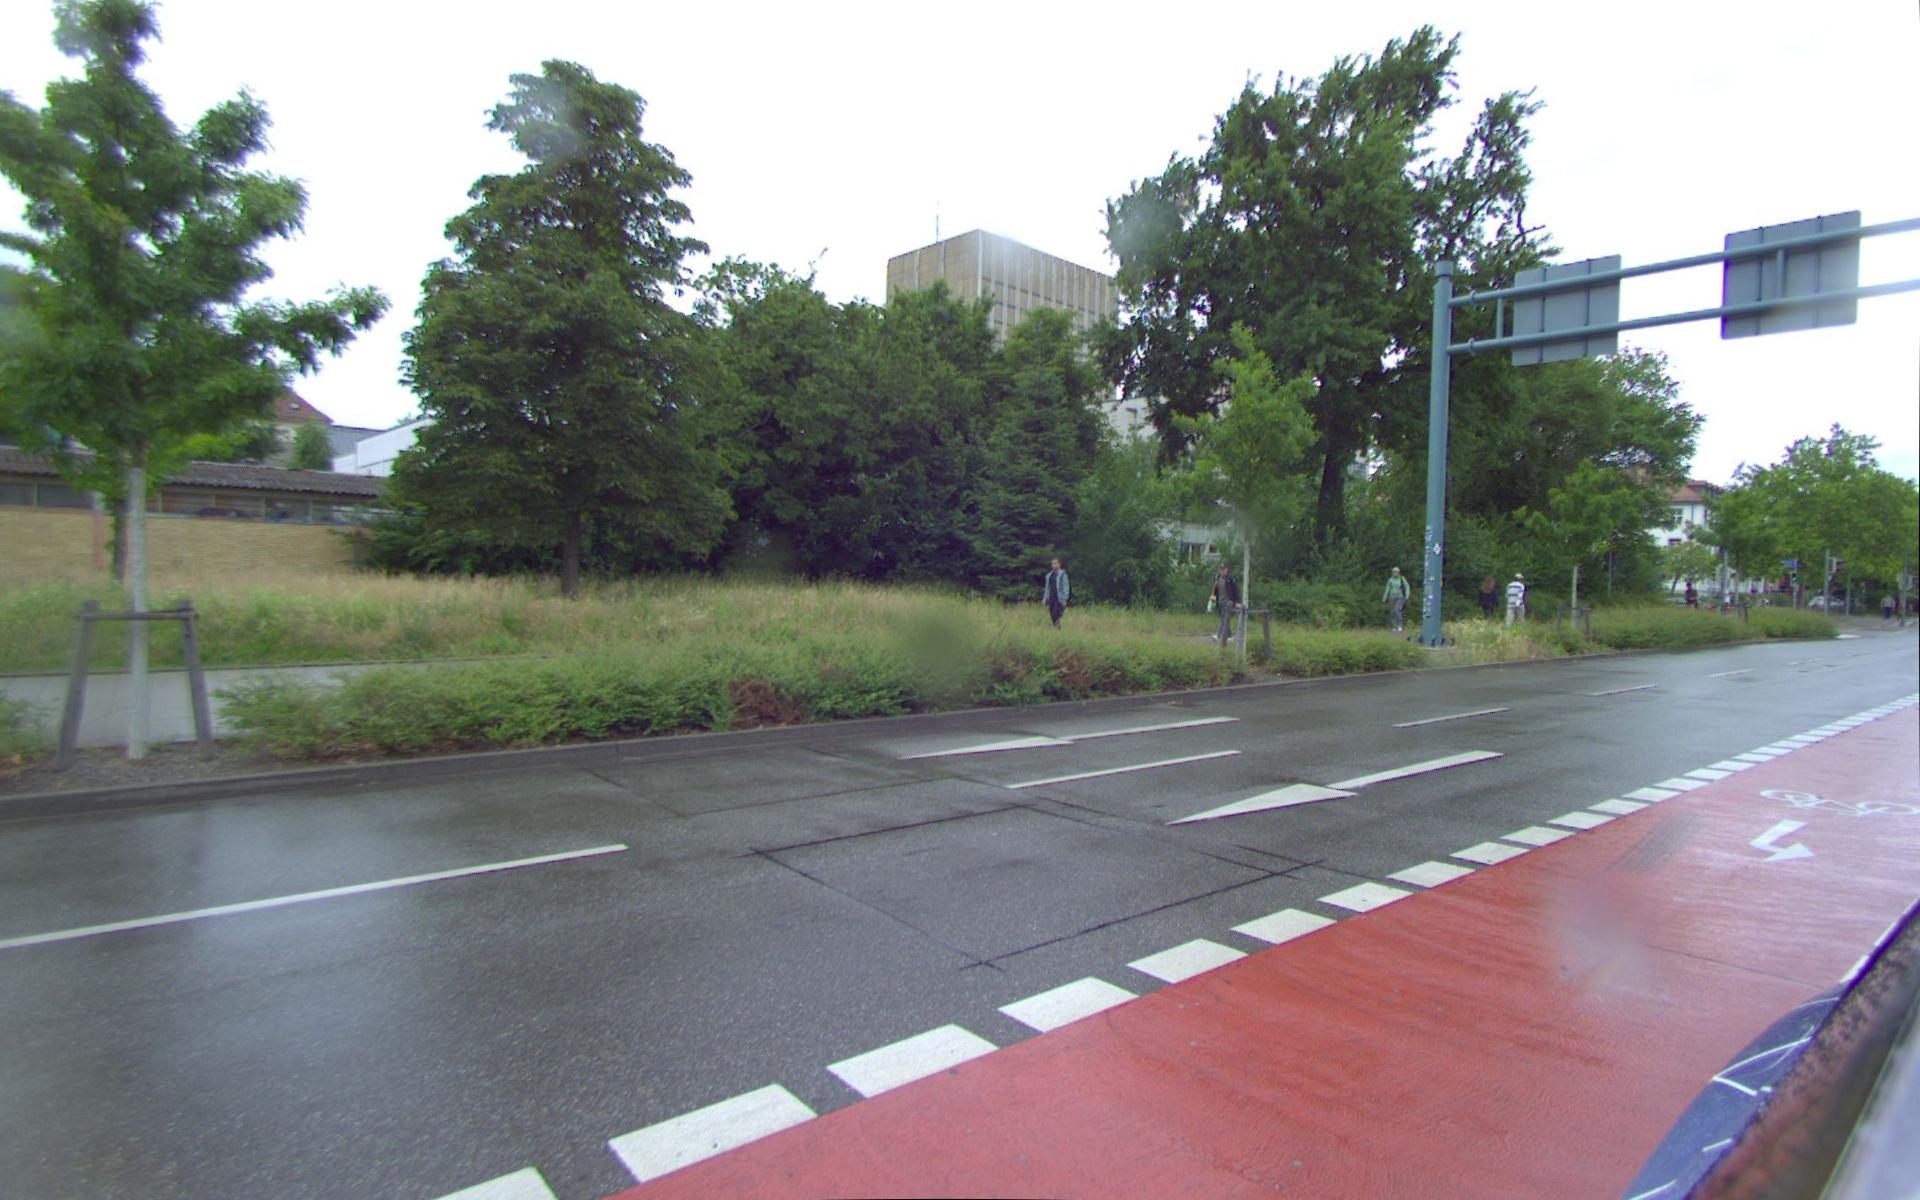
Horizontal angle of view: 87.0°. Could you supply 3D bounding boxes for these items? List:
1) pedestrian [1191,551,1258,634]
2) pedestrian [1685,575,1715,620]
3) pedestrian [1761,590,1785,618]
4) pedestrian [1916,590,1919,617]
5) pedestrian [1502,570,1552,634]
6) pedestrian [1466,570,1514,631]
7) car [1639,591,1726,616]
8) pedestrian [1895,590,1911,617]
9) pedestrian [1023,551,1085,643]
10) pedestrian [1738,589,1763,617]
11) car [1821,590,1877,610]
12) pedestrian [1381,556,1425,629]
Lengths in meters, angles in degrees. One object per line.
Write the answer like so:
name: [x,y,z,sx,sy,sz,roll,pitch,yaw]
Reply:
pedestrian: [5.815,-0.177,22.249,1.025,1.769,0.937,1,1,-33]
pedestrian: [31.670,-0.097,43.299,0.834,1.882,0.732,1,1,-33]
pedestrian: [47.927,0.213,59.667,0.869,1.627,0.855,2,1,28]
pedestrian: [66.309,0.246,69.536,0.619,1.847,0.779,2,1,28]
pedestrian: [16.055,0.050,28.679,0.813,1.743,0.936,4,-2,-35]
pedestrian: [15.492,0.016,29.598,0.813,1.726,0.936,4,-2,-35]
car: [46.843,0.197,65.672,1.744,1.353,4.381,-3,4,-43]
pedestrian: [65.299,0.215,70.082,0.621,1.847,0.777,2,1,36]
pedestrian: [1.901,-0.068,20.539,0.812,1.819,0.937,1,1,-33]
pedestrian: [47.048,0.170,60.234,0.867,1.627,0.858,2,1,21]
car: [93.990,-0.006,107.067,4.412,1.896,1.613,3,2,43]
pedestrian: [12.605,-0.233,28.814,0.812,2.039,0.793,1,1,-33]
